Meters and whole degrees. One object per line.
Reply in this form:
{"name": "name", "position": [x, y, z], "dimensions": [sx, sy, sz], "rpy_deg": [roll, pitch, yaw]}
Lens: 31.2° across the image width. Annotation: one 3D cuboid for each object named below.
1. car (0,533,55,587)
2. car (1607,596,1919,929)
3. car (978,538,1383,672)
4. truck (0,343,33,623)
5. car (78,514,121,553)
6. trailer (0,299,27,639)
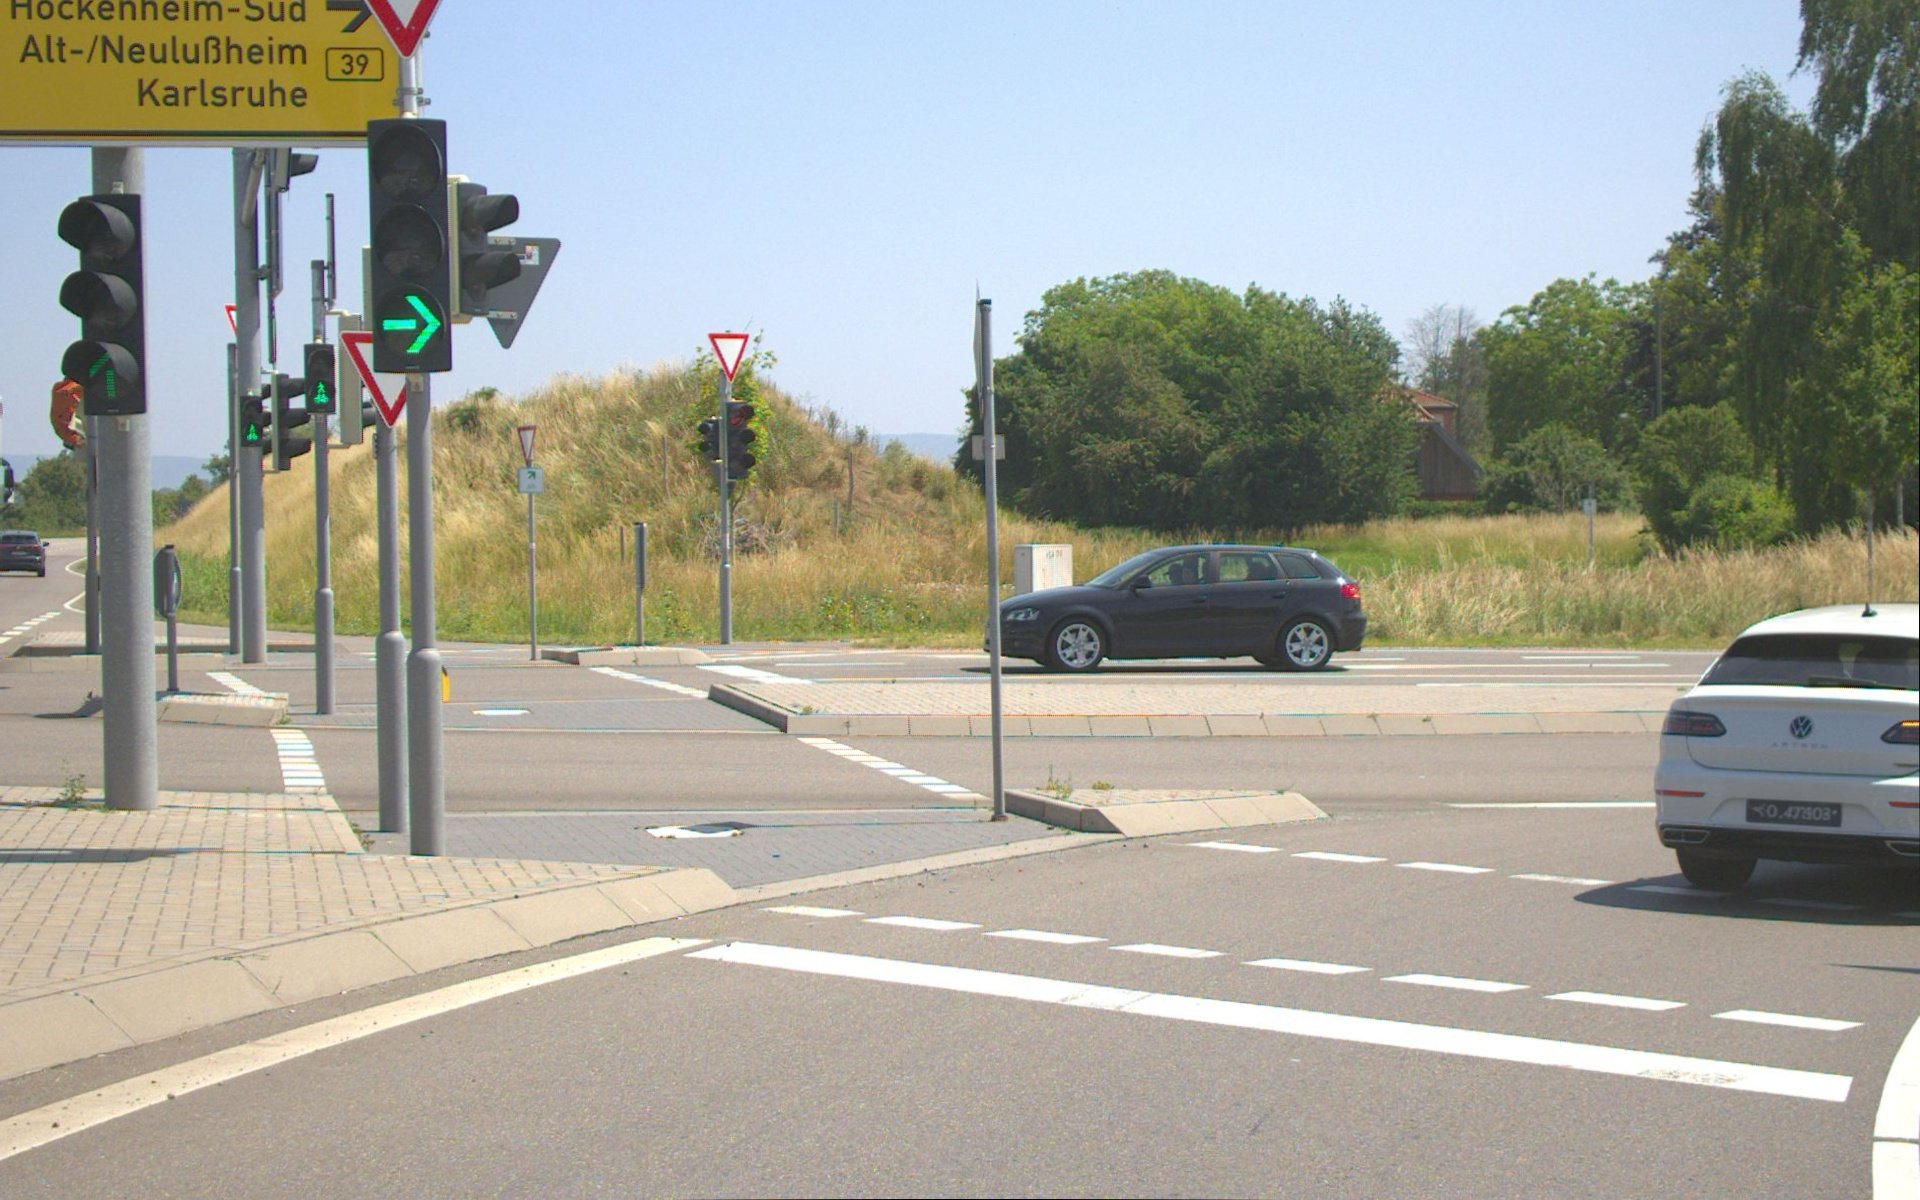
{"name": "car", "position": [-33.802, -1.436, 124.392], "dimensions": [1.979, 1.887, 4.468], "rpy_deg": [1, 0, -14]}
{"name": "car", "position": [5.065, 0.723, 17.421], "dimensions": [1.851, 1.428, 4.599], "rpy_deg": [2, 1, 33]}
{"name": "car", "position": [2.443, 0.034, 38.631], "dimensions": [4.259, 1.364, 1.776], "rpy_deg": [-1, 2, -8]}
{"name": "truck", "position": [-17.650, -1.975, 58.470], "dimensions": [3.380, 4.527, 6.374], "rpy_deg": [1, 1, -13]}
{"name": "car", "position": [-41.799, -3.218, 166.875], "dimensions": [1.979, 1.863, 4.468], "rpy_deg": [1, 0, -14]}
{"name": "trailer", "position": [-15.944, -1.882, 51.650], "dimensions": [3.380, 4.527, 12.876], "rpy_deg": [1, 1, -14]}
